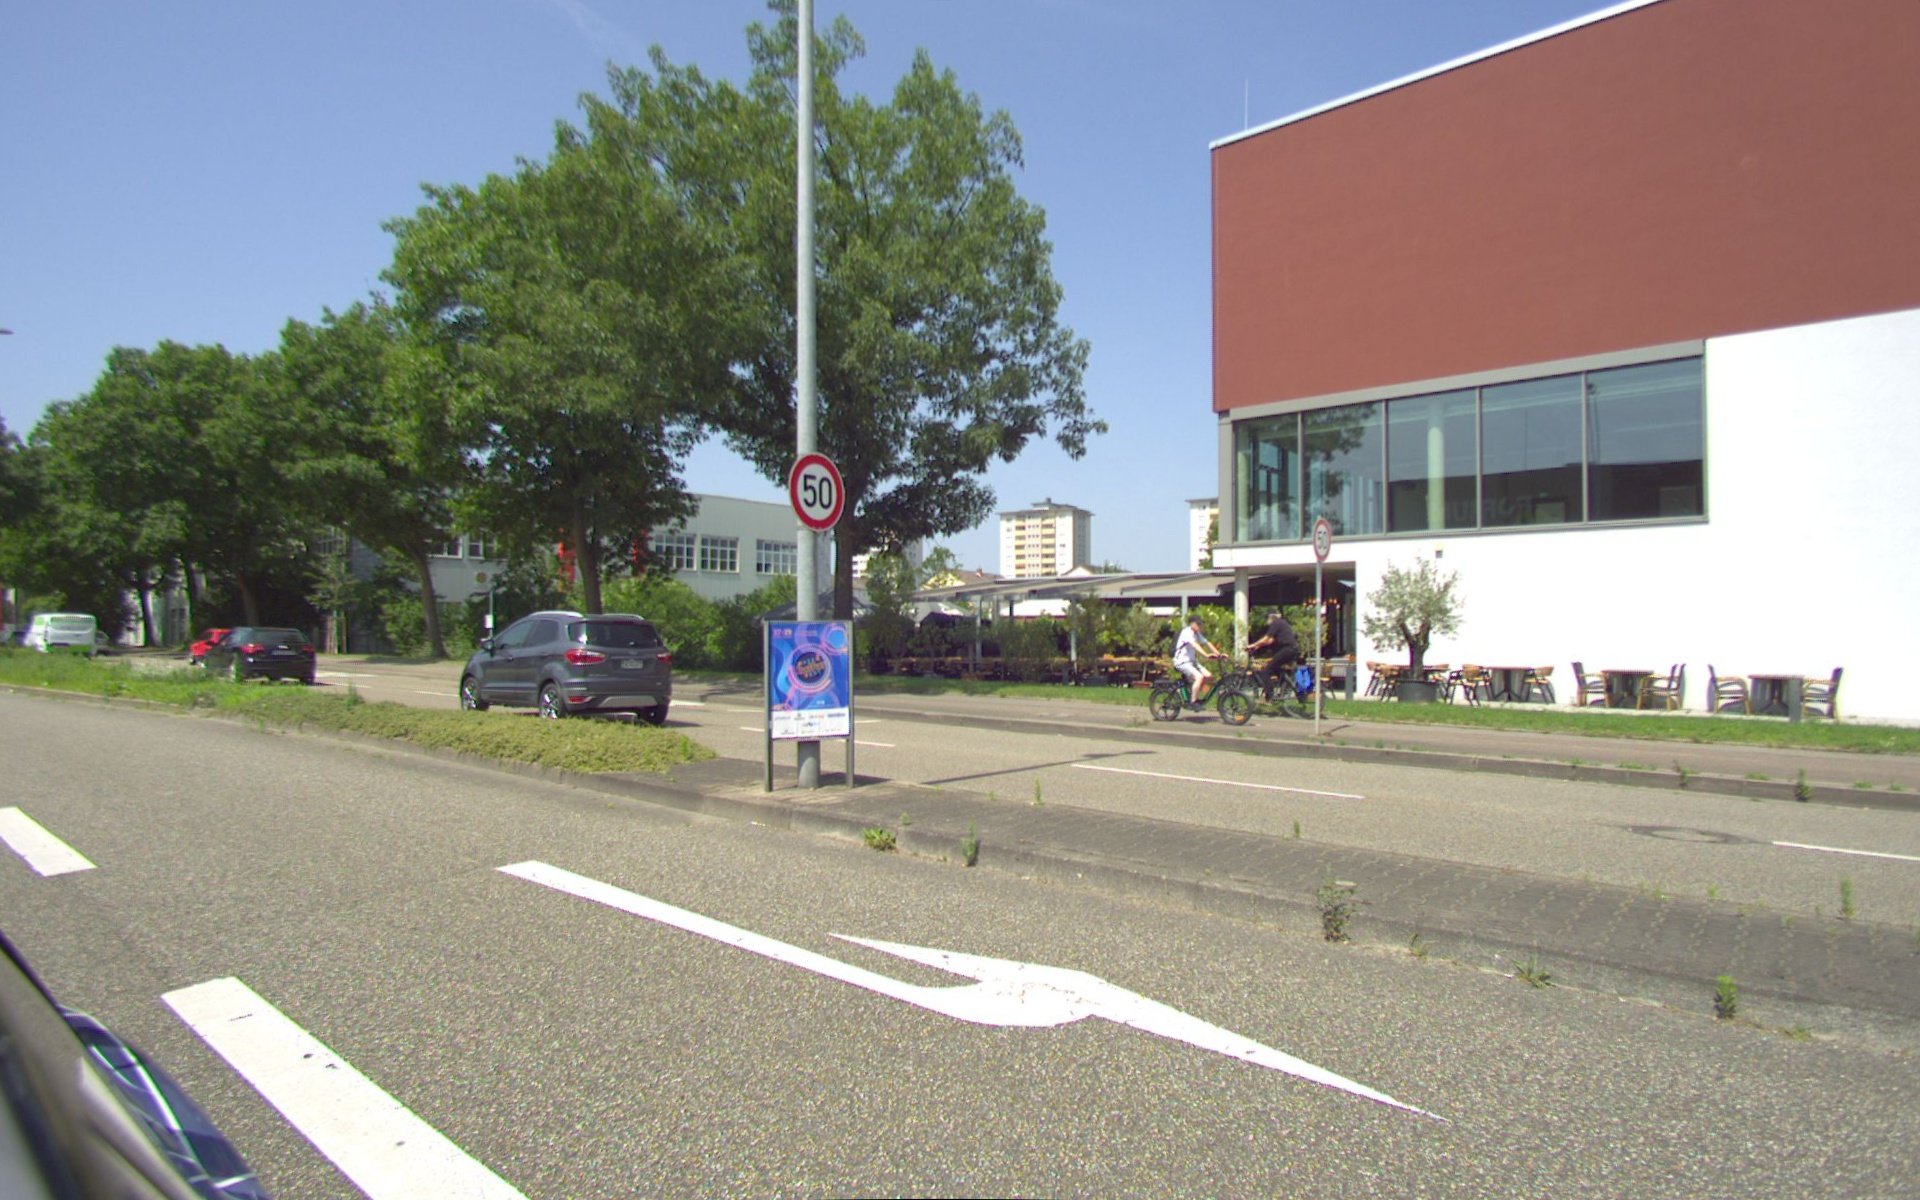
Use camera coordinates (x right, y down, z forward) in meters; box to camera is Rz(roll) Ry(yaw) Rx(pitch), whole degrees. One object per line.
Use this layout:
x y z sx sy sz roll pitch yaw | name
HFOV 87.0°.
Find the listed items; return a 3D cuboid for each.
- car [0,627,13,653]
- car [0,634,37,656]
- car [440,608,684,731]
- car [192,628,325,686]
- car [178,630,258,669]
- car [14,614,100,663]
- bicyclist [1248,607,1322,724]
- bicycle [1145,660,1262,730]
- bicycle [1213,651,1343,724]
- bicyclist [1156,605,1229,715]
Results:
-56.522 2.296 58.867 3.605 1.452 1.564 -1 -4 39 | car
-64.880 3.062 69.437 4.130 1.462 1.731 -2 -5 41 | car
-6.016 0.992 15.132 3.881 1.612 1.670 -1 -5 40 | car
-17.777 1.425 25.601 3.996 1.349 1.662 -1 -5 39 | car
-29.750 1.962 40.550 3.889 1.464 1.688 -2 -5 41 | car
-38.869 1.649 43.536 4.904 1.960 1.973 -1 -4 40 | car
5.170 1.021 16.101 0.927 1.783 0.643 -2 -2 41 | bicyclist
3.710 1.431 15.517 1.659 0.976 0.611 -1 -2 41 | bicycle
5.059 1.365 16.187 1.883 1.059 0.648 -1 -2 41 | bicycle
3.591 0.905 15.639 0.923 1.643 0.601 -1 -3 41 | bicyclist
